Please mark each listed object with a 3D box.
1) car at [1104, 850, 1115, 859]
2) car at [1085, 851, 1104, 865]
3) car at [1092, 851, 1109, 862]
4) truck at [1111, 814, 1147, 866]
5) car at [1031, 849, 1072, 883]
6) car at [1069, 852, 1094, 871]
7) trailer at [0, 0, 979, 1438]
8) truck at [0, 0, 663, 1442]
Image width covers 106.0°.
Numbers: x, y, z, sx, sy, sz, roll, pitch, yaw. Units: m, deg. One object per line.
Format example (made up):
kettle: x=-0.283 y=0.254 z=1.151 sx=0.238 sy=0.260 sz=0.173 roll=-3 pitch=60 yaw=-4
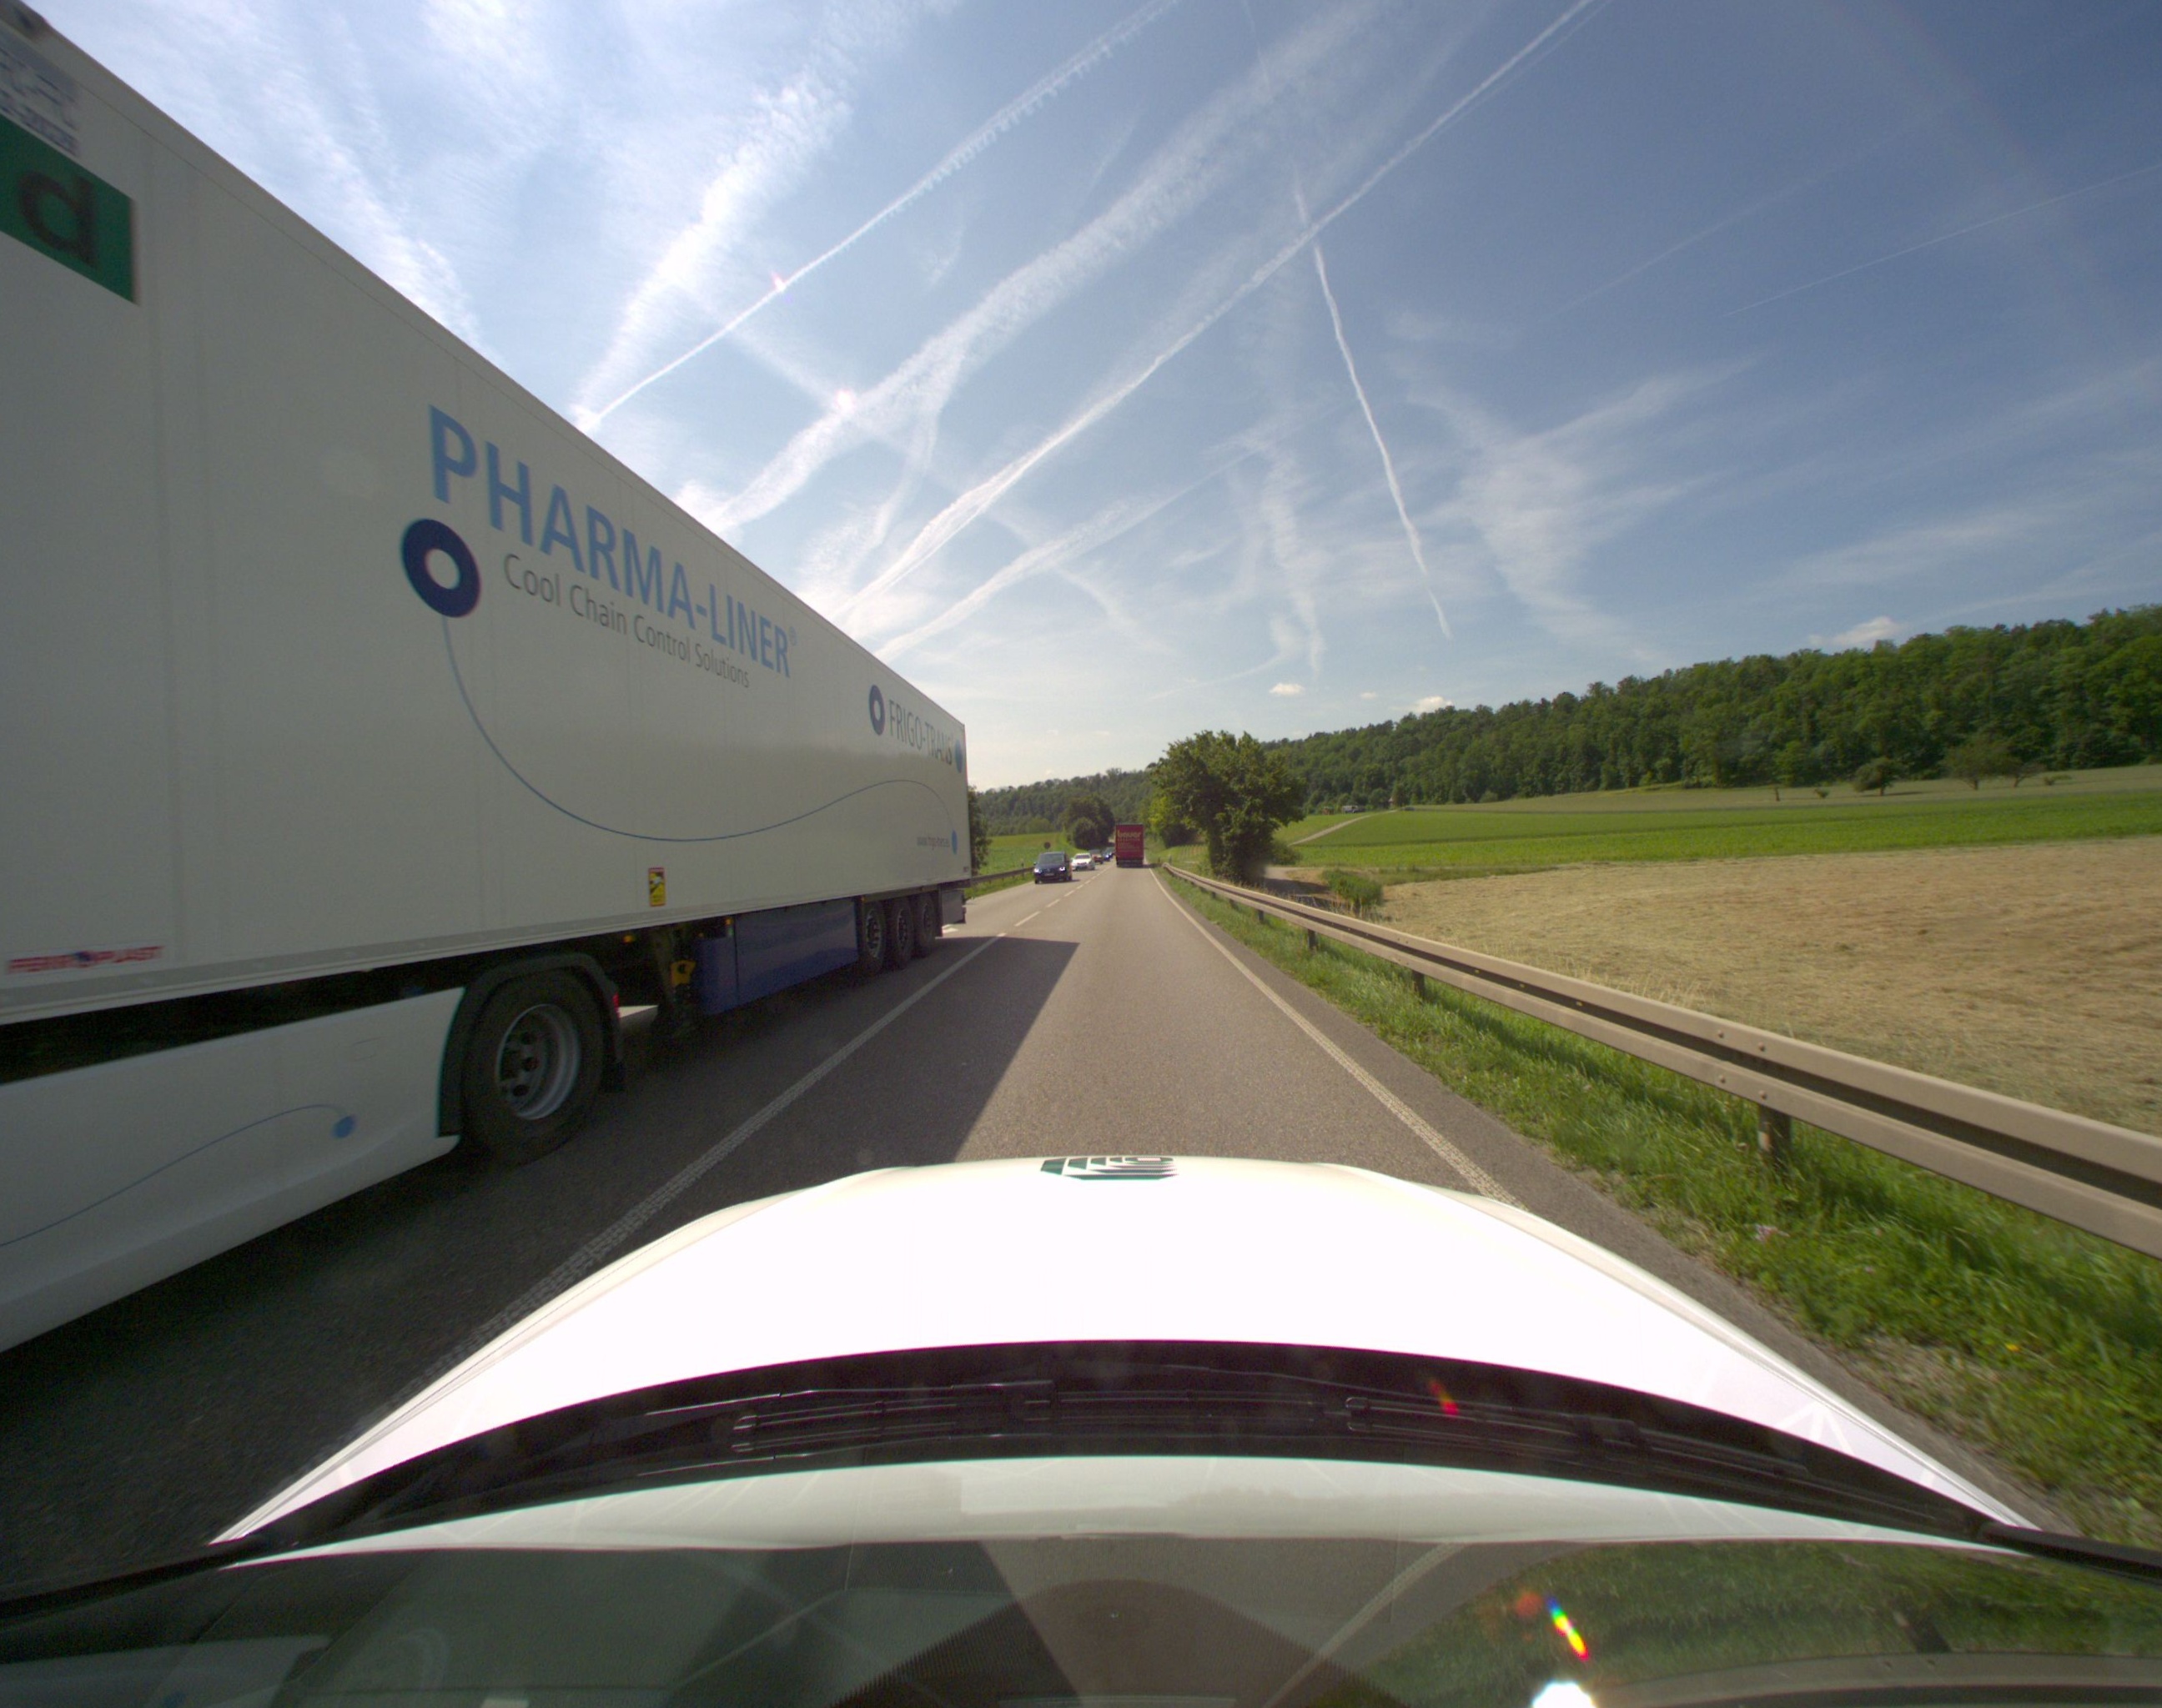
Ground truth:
car: x=5.331 y=0.017 z=150.473 sx=1.800 sy=1.486 sz=4.004 roll=-2 pitch=1 yaw=3
car: x=1.526 y=0.412 z=92.950 sx=1.904 sy=1.474 sz=3.878 roll=-3 pitch=0 yaw=4
car: x=2.583 y=0.324 z=107.014 sx=1.985 sy=1.342 sz=4.005 roll=-2 pitch=1 yaw=4
truck: x=4.601 y=-1.298 z=79.136 sx=3.159 sy=4.625 sz=13.554 roll=-1 pitch=0 yaw=3
car: x=-1.607 y=0.643 z=45.957 sx=1.821 sy=1.722 sz=4.367 roll=-4 pitch=0 yaw=3
car: x=0.057 y=0.649 z=68.475 sx=1.723 sy=1.434 sz=3.920 roll=-4 pitch=0 yaw=4
trailer: x=-3.774 y=-0.452 z=9.095 sx=2.496 sy=4.119 sz=13.911 roll=-3 pitch=0 yaw=4
truck: x=-4.177 y=-0.461 z=2.187 sx=2.519 sy=4.119 sz=6.026 roll=-3 pitch=0 yaw=3
